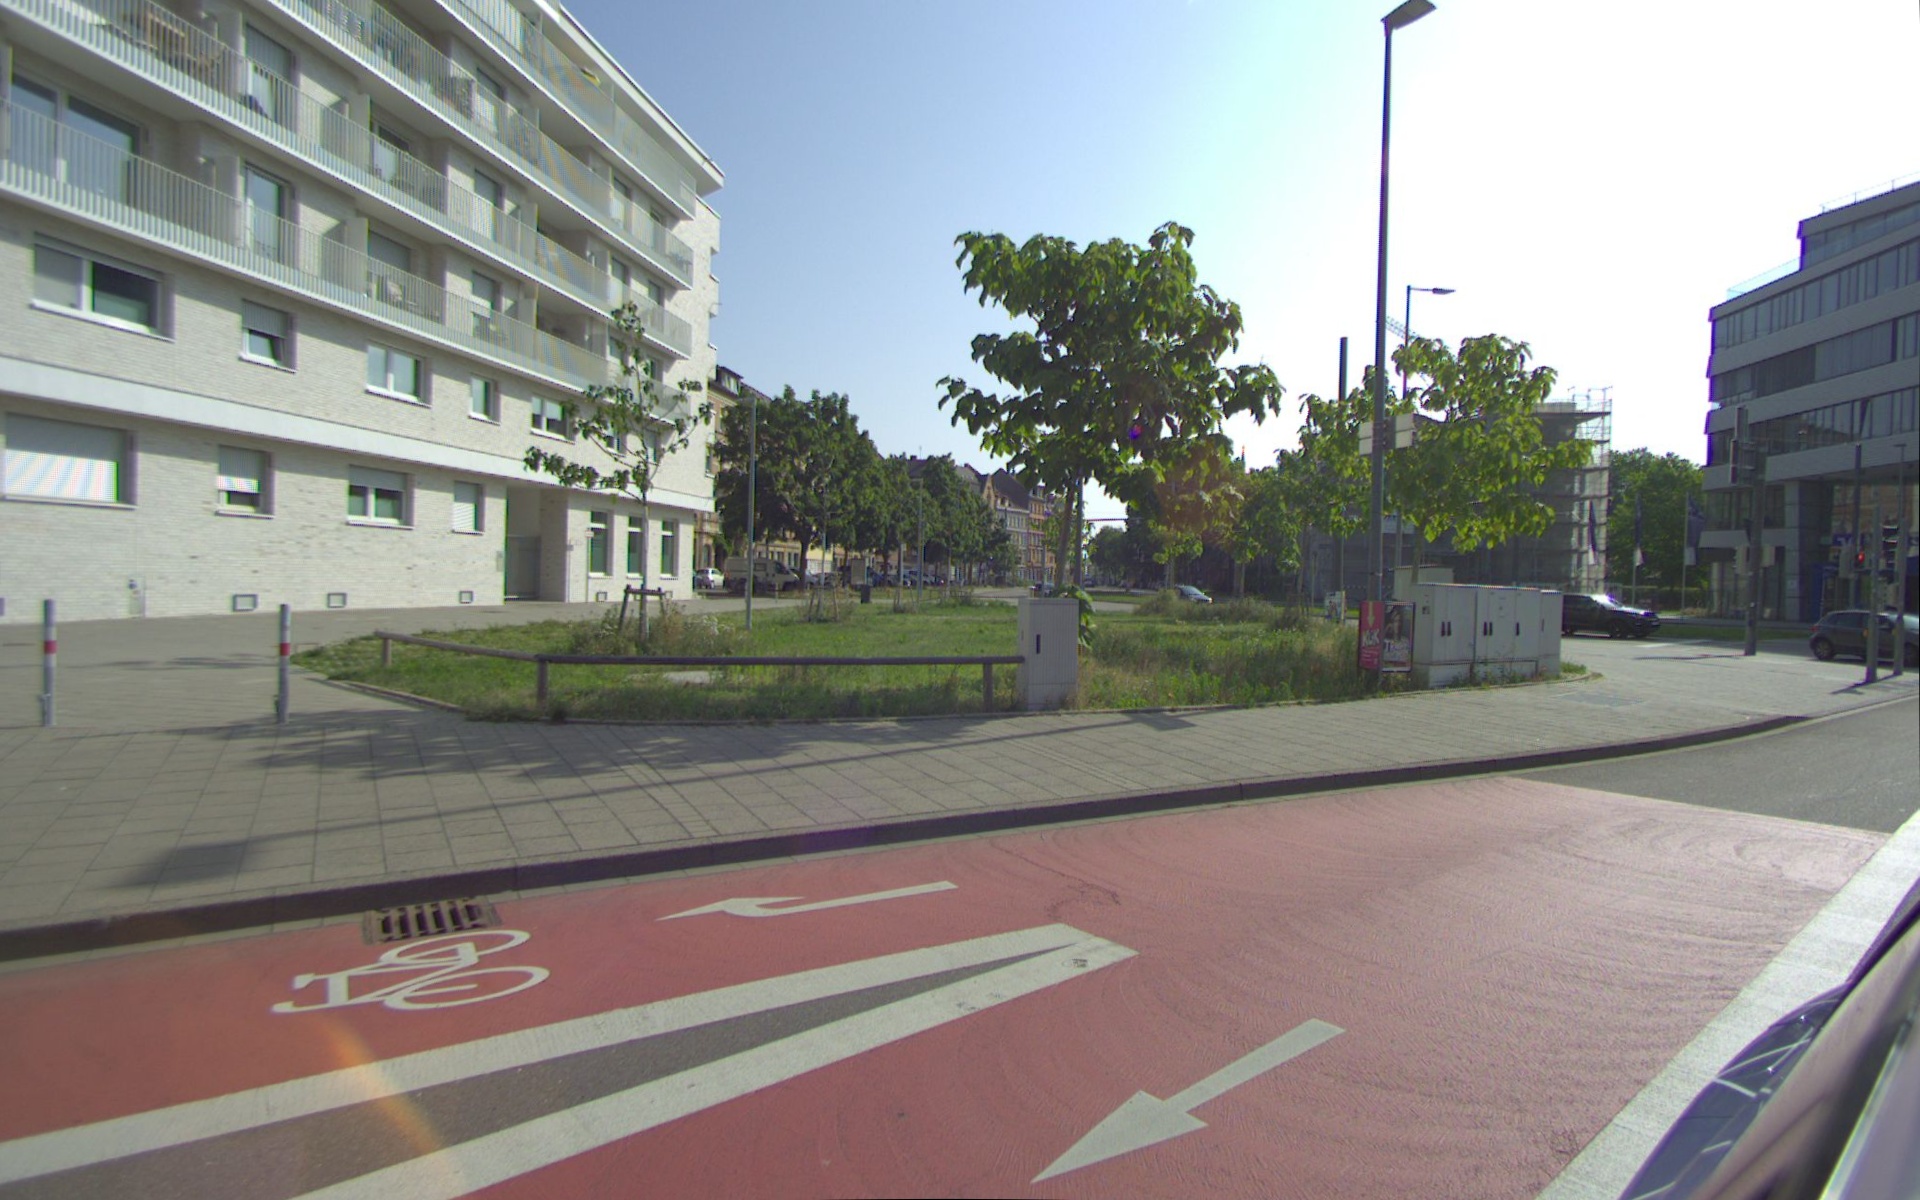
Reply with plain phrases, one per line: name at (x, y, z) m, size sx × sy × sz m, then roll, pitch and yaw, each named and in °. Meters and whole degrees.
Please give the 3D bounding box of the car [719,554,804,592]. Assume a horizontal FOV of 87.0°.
car at (-12.385, -1.678, 63.007) m, size 4.940 × 2.205 × 1.884 m, roll 1°, pitch 1°, yaw -19°

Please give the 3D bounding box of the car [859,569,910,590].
car at (-7.443, -2.023, 99.809) m, size 4.639 × 1.787 × 1.726 m, roll 2°, pitch 0°, yaw -18°

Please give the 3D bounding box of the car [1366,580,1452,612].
car at (28.132, -0.300, 63.588) m, size 1.915 × 1.805 × 4.824 m, roll -1°, pitch 3°, yaw -27°

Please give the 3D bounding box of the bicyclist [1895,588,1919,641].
bicyclist at (32.152, 0.480, 34.222) m, size 0.625 × 1.723 × 0.669 m, roll -1°, pitch 2°, yaw -38°

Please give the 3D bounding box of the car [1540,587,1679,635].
car at (25.426, 0.389, 39.780) m, size 1.766 × 1.699 × 4.227 m, roll 2°, pitch 1°, yaw -29°

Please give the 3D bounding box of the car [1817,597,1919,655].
car at (25.931, 0.711, 27.521) m, size 1.611 × 1.436 × 3.902 m, roll 1°, pitch 2°, yaw -8°

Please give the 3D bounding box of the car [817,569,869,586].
car at (-9.354, -1.834, 81.212) m, size 3.776 × 1.265 × 1.725 m, roll 1°, pitch 1°, yaw -26°

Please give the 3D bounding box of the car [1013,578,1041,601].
car at (4.871, -0.770, 74.265) m, size 1.963 × 1.580 × 3.873 m, roll 0°, pitch 1°, yaw 2°

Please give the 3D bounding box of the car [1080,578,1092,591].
car at (21.910, -2.682, 175.523) m, size 1.966 × 2.003 × 3.995 m, roll 1°, pitch 2°, yaw 6°

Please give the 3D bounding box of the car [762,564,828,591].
car at (-10.855, -1.478, 66.554) m, size 3.902 × 1.728 × 1.883 m, roll 1°, pitch 1°, yaw -26°

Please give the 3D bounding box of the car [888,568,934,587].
car at (-5.485, -2.482, 113.051) m, size 4.828 × 1.861 × 1.724 m, roll 2°, pitch 1°, yaw -31°

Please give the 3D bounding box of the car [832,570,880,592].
car at (-8.945, -1.649, 87.061) m, size 3.775 × 1.828 × 1.790 m, roll 1°, pitch 1°, yaw -24°

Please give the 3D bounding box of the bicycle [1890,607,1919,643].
bicycle at (32.074, 0.824, 34.175) m, size 1.772 × 1.111 × 0.669 m, roll -2°, pitch 3°, yaw -38°
